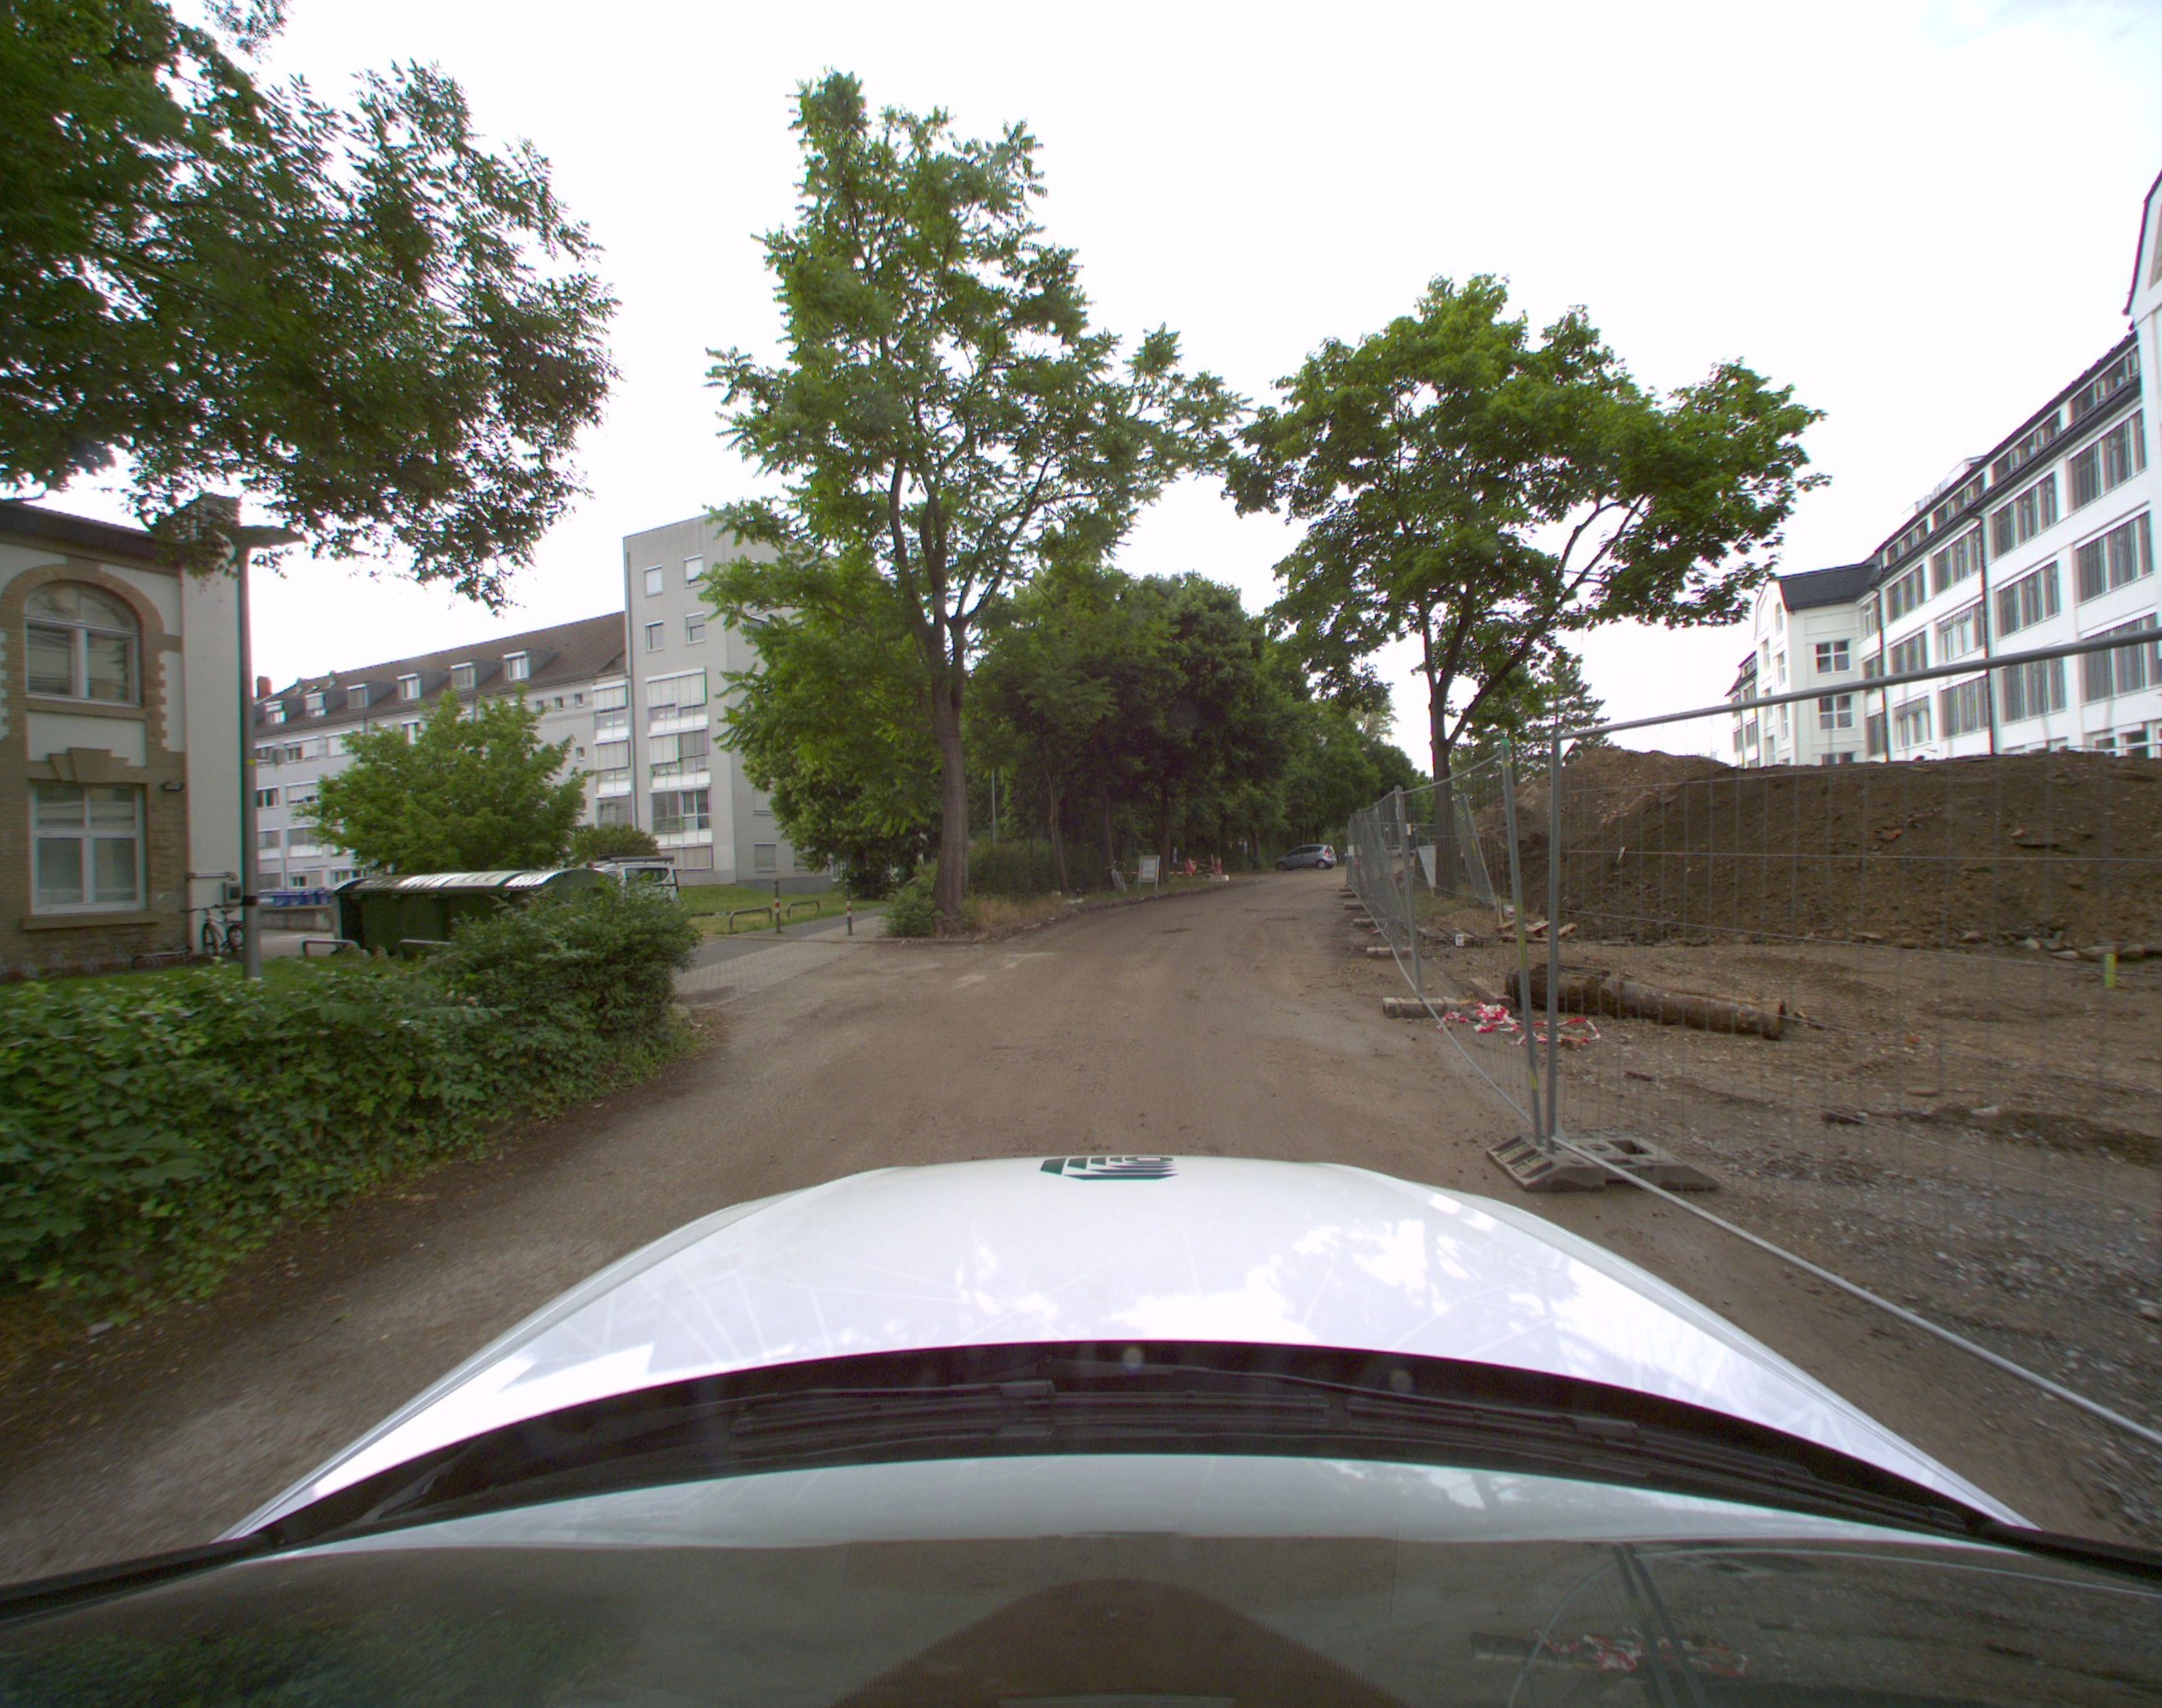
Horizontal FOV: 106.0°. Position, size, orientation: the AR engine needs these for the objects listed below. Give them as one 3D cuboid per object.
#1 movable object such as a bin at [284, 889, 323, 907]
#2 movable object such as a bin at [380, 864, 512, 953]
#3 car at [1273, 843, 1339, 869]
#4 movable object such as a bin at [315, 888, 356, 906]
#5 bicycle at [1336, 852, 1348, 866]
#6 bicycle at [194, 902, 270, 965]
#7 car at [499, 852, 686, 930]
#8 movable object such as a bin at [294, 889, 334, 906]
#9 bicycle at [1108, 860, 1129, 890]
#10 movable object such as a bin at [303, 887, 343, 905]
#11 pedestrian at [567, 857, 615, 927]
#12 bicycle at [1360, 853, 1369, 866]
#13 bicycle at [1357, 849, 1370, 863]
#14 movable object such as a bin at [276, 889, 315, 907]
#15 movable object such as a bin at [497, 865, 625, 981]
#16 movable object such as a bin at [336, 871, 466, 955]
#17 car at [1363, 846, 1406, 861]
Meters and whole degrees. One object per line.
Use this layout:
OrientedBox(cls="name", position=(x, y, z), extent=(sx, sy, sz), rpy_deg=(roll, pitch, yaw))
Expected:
OrientedBox(cls="movable object such as a bin", position=(-32.647, 1.843, 34.194), extent=(0.800, 0.679, 0.974), rpy_deg=(-4, -1, 30))
OrientedBox(cls="movable object such as a bin", position=(-9.803, 0.823, 12.594), extent=(1.337, 1.265, 1.062), rpy_deg=(-2, 0, 23))
OrientedBox(cls="car", position=(14.315, 0.115, 51.801), extent=(3.663, 1.500, 1.879), rpy_deg=(-2, 0, 31))
OrientedBox(cls="movable object such as a bin", position=(-29.931, 1.728, 32.716), extent=(0.899, 0.637, 0.974), rpy_deg=(-4, -1, 30))
OrientedBox(cls="bicycle", position=(19.326, 0.365, 60.386), extent=(0.765, 0.978, 2.041), rpy_deg=(-2, 0, 17))
OrientedBox(cls="bicycle", position=(-15.302, 1.411, 14.660), extent=(1.805, 1.065, 0.398), rpy_deg=(-2, -1, 26))
OrientedBox(cls="car", position=(-14.127, 1.014, 23.857), extent=(1.831, 2.014, 4.376), rpy_deg=(-4, -1, 24))
OrientedBox(cls="movable object such as a bin", position=(-31.777, 1.792, 33.724), extent=(0.899, 0.637, 0.974), rpy_deg=(-4, -1, 30))
OrientedBox(cls="bicycle", position=(1.171, 0.642, 25.233), extent=(0.416, 0.906, 1.158), rpy_deg=(-2, 0, 12))
OrientedBox(cls="movable object such as a bin", position=(-30.914, 1.709, 33.223), extent=(0.899, 0.637, 0.974), rpy_deg=(-4, -1, 30))
OrientedBox(cls="pedestrian", position=(-13.317, 1.026, 22.137), extent=(0.690, 1.808, 0.761), rpy_deg=(-4, -1, 24))
OrientedBox(cls="bicycle", position=(22.775, 0.416, 65.360), extent=(0.584, 0.978, 2.041), rpy_deg=(-2, 0, 17))
OrientedBox(cls="bicycle", position=(20.800, 0.138, 60.005), extent=(0.765, 0.978, 2.041), rpy_deg=(-2, 0, 17))
OrientedBox(cls="movable object such as a bin", position=(-33.420, 1.872, 34.652), extent=(0.859, 0.679, 0.974), rpy_deg=(-4, -1, 30))
OrientedBox(cls="movable object such as a bin", position=(-7.185, 0.894, 11.262), extent=(1.337, 1.450, 1.062), rpy_deg=(0, 0, 37))
OrientedBox(cls="movable object such as a bin", position=(-11.072, 0.939, 13.282), extent=(1.338, 1.265, 1.061), rpy_deg=(-2, 0, 20))
OrientedBox(cls="car", position=(33.228, -0.027, 89.199), extent=(3.977, 1.508, 1.998), rpy_deg=(-2, 0, -3))
